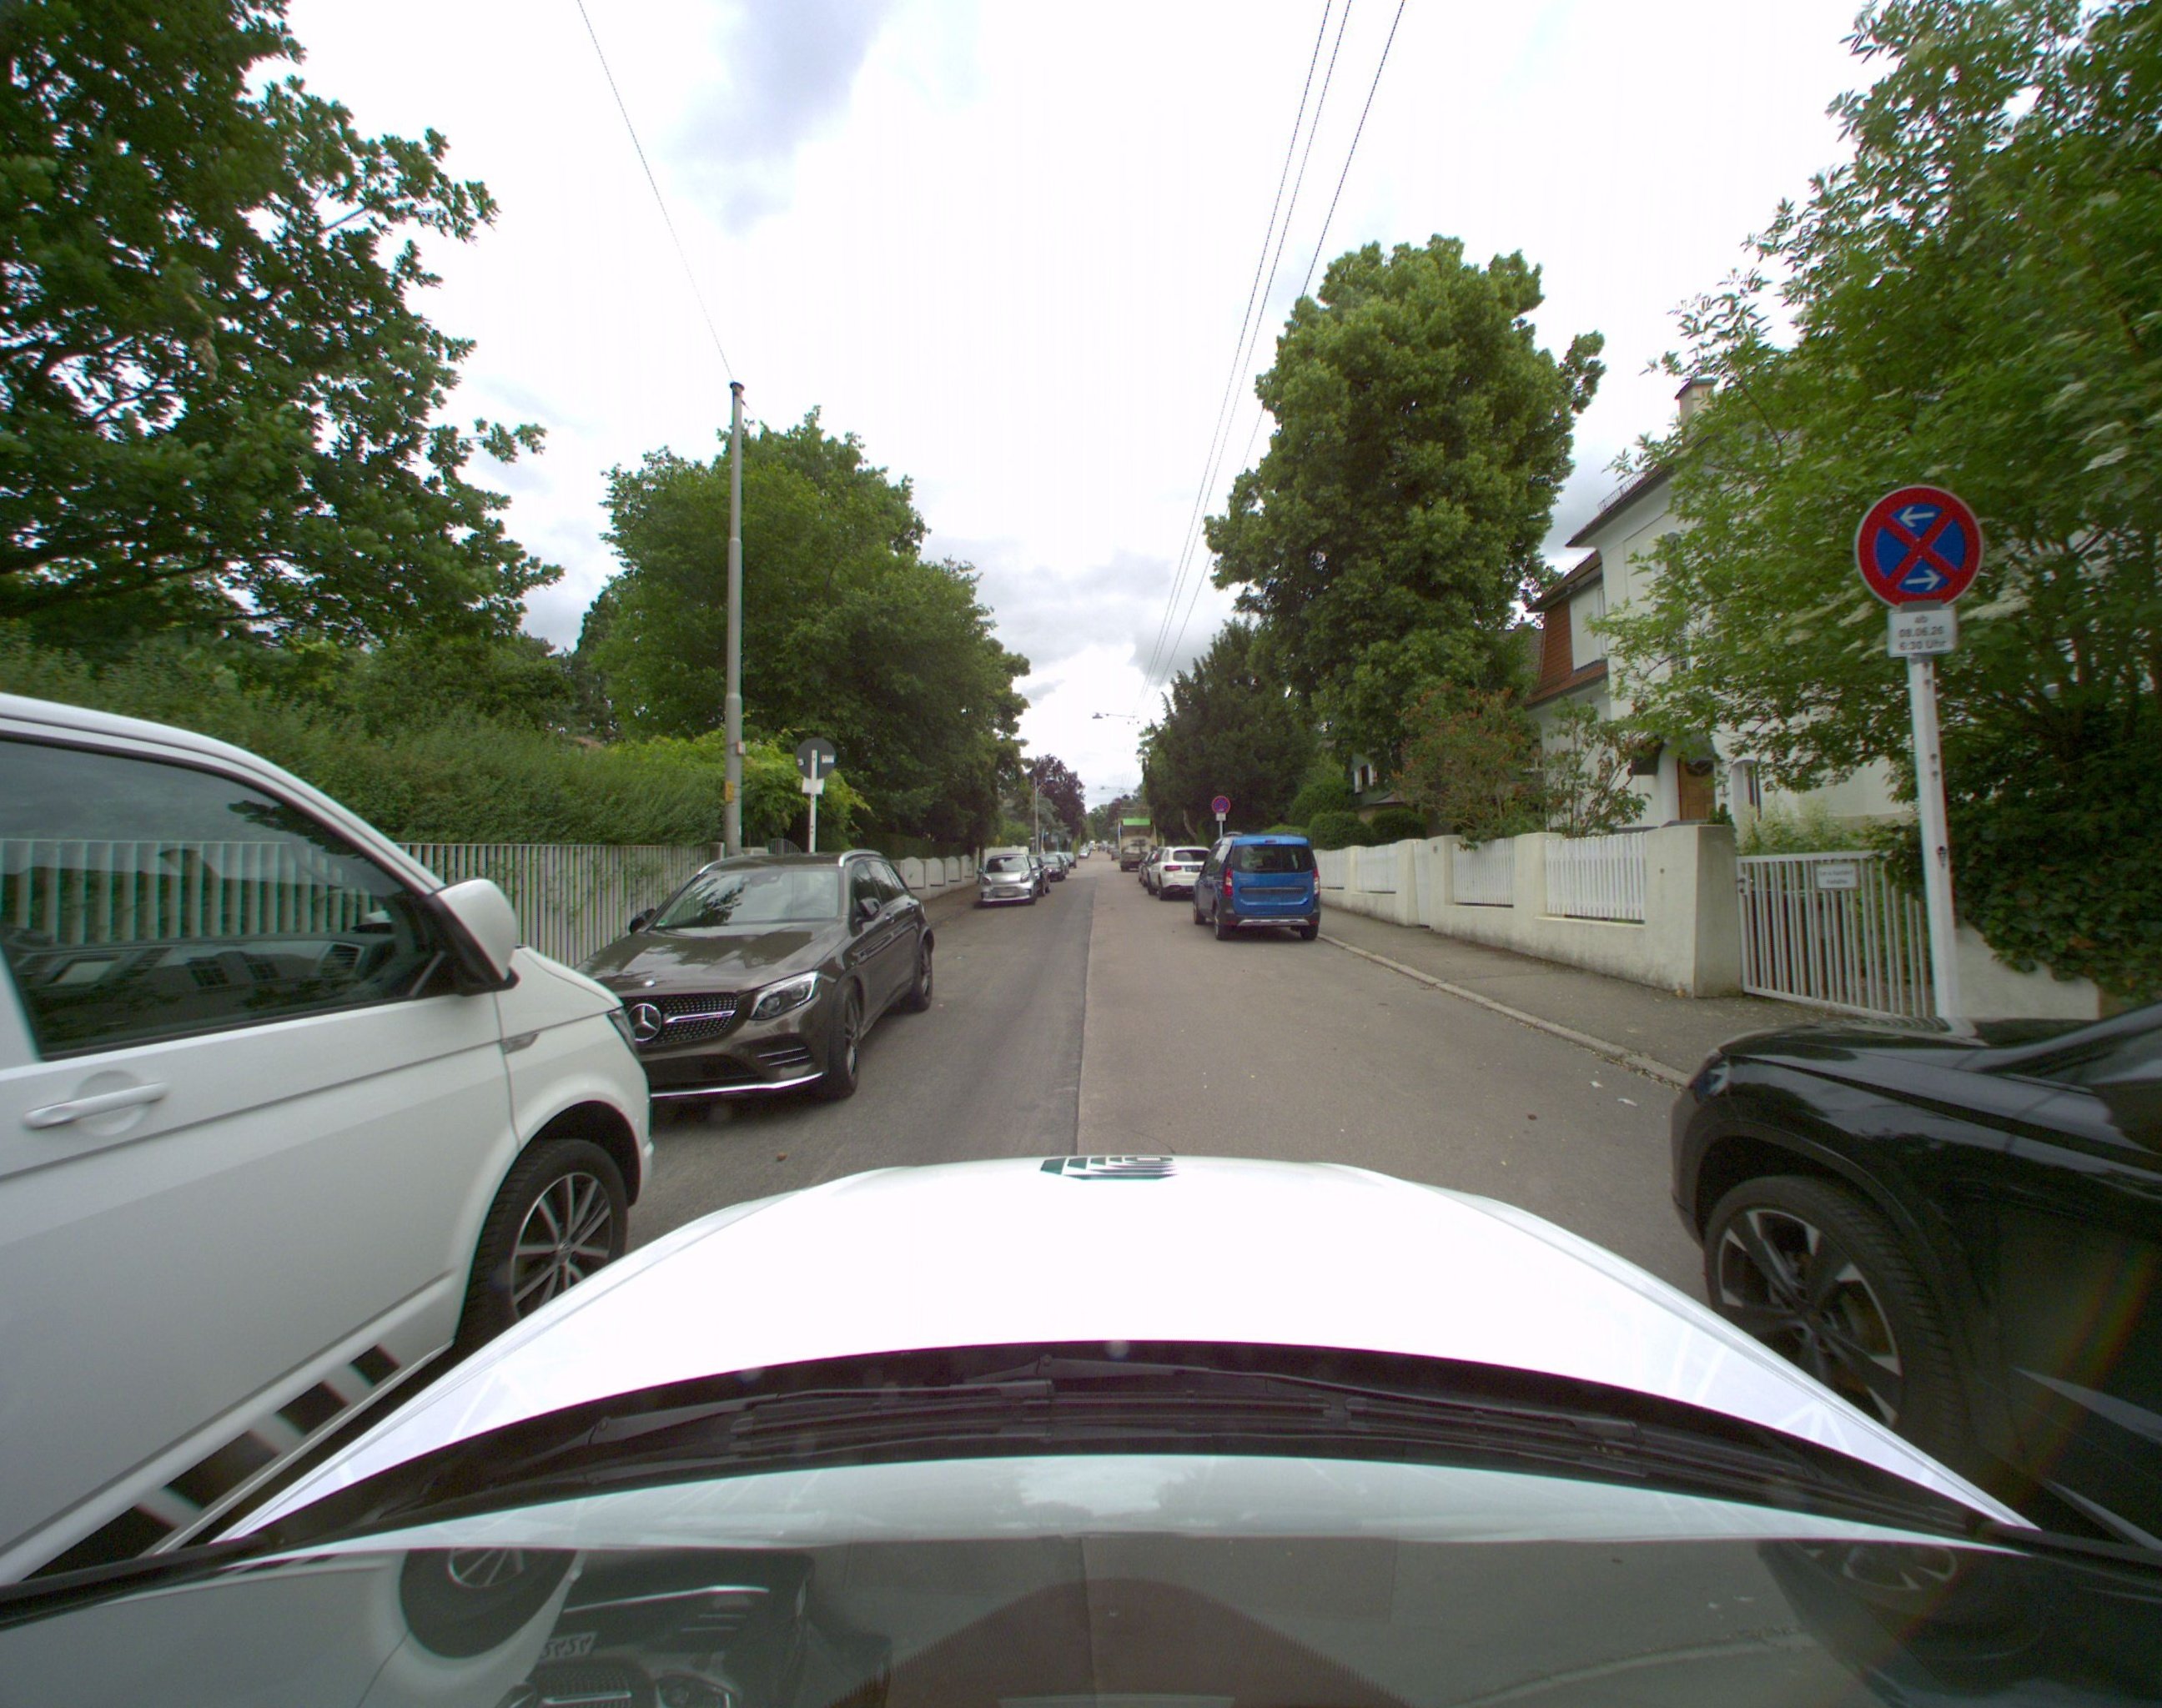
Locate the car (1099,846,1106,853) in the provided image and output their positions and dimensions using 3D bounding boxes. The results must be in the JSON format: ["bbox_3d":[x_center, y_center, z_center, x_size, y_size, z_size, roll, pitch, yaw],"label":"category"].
[{"bbox_3d":[5.286,-1.018,204.044,1.628,1.701,3.494,-1,1,0],"label":"car"}]

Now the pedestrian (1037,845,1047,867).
[{"bbox_3d":[-3.636,0.151,75.897,0.850,2.014,0.700,1,0,-4],"label":"pedestrian"}]

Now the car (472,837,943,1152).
[{"bbox_3d":[-2.385,0.750,6.578,1.785,1.623,4.341,-2,0,-1],"label":"car"}]

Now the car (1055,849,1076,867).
[{"bbox_3d":[-1.329,0.331,69.703,1.632,1.395,3.988,-3,0,0],"label":"car"}]

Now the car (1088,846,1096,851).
[{"bbox_3d":[2.815,-1.414,211.545,1.720,1.407,3.809,-1,-1,5],"label":"car"}]

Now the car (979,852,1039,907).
[{"bbox_3d":[-2.191,0.743,25.371,1.618,1.533,2.960,-3,0,-2],"label":"car"}]

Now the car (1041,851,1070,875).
[{"bbox_3d":[-1.665,0.564,54.472,1.590,1.433,4.002,-3,0,2],"label":"car"}]

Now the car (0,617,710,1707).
[{"bbox_3d":[-2.590,0.635,1.105,1.848,1.913,4.620,-4,0,1],"label":"car"}]

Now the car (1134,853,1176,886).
[{"bbox_3d":[3.340,0.664,37.590,1.646,1.424,4.662,0,0,1],"label":"car"}]

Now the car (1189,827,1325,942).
[{"bbox_3d":[3.117,0.478,15.208,1.677,1.829,4.157,1,0,1],"label":"car"}]

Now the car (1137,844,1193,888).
[{"bbox_3d":[3.256,0.450,32.176,1.693,1.570,4.307,-2,0,-1],"label":"car"}]

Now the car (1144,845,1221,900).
[{"bbox_3d":[3.141,0.528,26.065,1.753,1.606,4.571,0,0,-2],"label":"car"}]

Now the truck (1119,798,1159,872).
[{"bbox_3d":[3.933,-1.253,56.492,2.515,4.748,7.190,0,0,2],"label":"truck"}]

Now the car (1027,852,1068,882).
[{"bbox_3d":[-1.708,0.642,42.885,1.634,1.422,4.553,-4,0,3],"label":"car"}]

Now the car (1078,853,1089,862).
[{"bbox_3d":[0.390,0.661,146.321,1.704,1.586,4.004,-1,0,4],"label":"car"}]

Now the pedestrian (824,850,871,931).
[{"bbox_3d":[-4.625,0.705,16.177,0.606,1.546,0.798,4,0,0],"label":"pedestrian"}]

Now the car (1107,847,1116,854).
[{"bbox_3d":[6.715,-0.817,178.882,1.782,1.529,3.737,-1,0,3],"label":"car"}]

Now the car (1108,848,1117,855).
[{"bbox_3d":[6.542,-0.573,169.984,1.804,1.335,3.632,0,1,0],"label":"car"}]

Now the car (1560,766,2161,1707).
[{"bbox_3d":[2.609,0.670,0.974,1.744,1.608,4.076,1,0,1],"label":"car"}]

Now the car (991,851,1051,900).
[{"bbox_3d":[-2.070,0.714,29.150,1.649,1.481,3.889,-4,0,2],"label":"car"}]

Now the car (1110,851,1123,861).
[{"bbox_3d":[5.474,0.294,126.420,1.773,1.489,4.000,-1,0,0],"label":"car"}]
